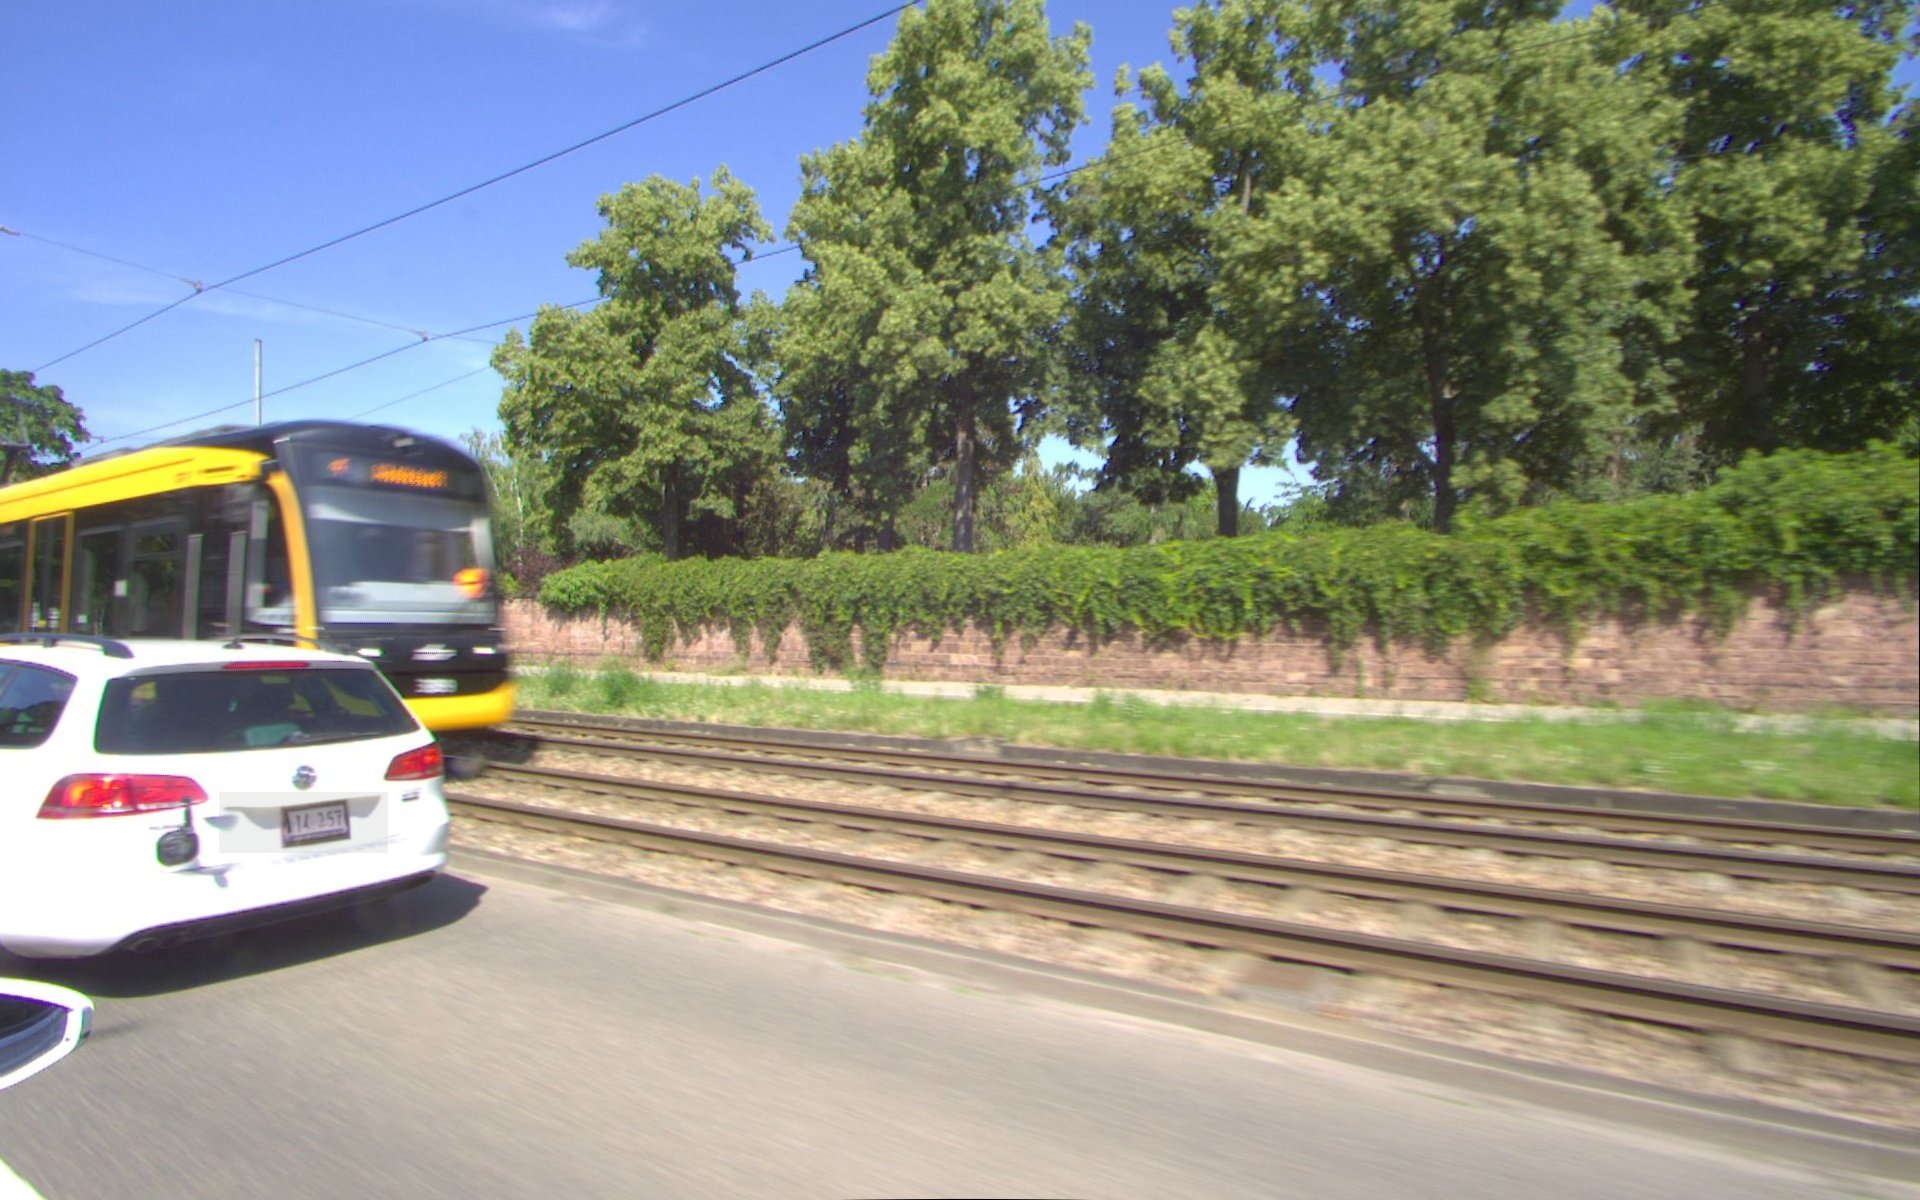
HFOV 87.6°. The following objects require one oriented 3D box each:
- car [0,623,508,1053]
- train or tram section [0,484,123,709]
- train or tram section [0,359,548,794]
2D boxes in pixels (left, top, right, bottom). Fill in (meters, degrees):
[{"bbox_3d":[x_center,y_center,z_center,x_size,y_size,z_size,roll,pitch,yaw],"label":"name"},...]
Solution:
[{"bbox_3d":[-4.532,0.873,5.365,4.393,1.470,1.689,0,-1,32],"label":"car"},{"bbox_3d":[-21.237,0.016,21.031,13.134,3.796,2.504,-1,-1,36],"label":"train or tram section"},{"bbox_3d":[-10.550,-0.121,13.510,13.128,3.796,2.505,-1,-1,35],"label":"train or tram section"}]
